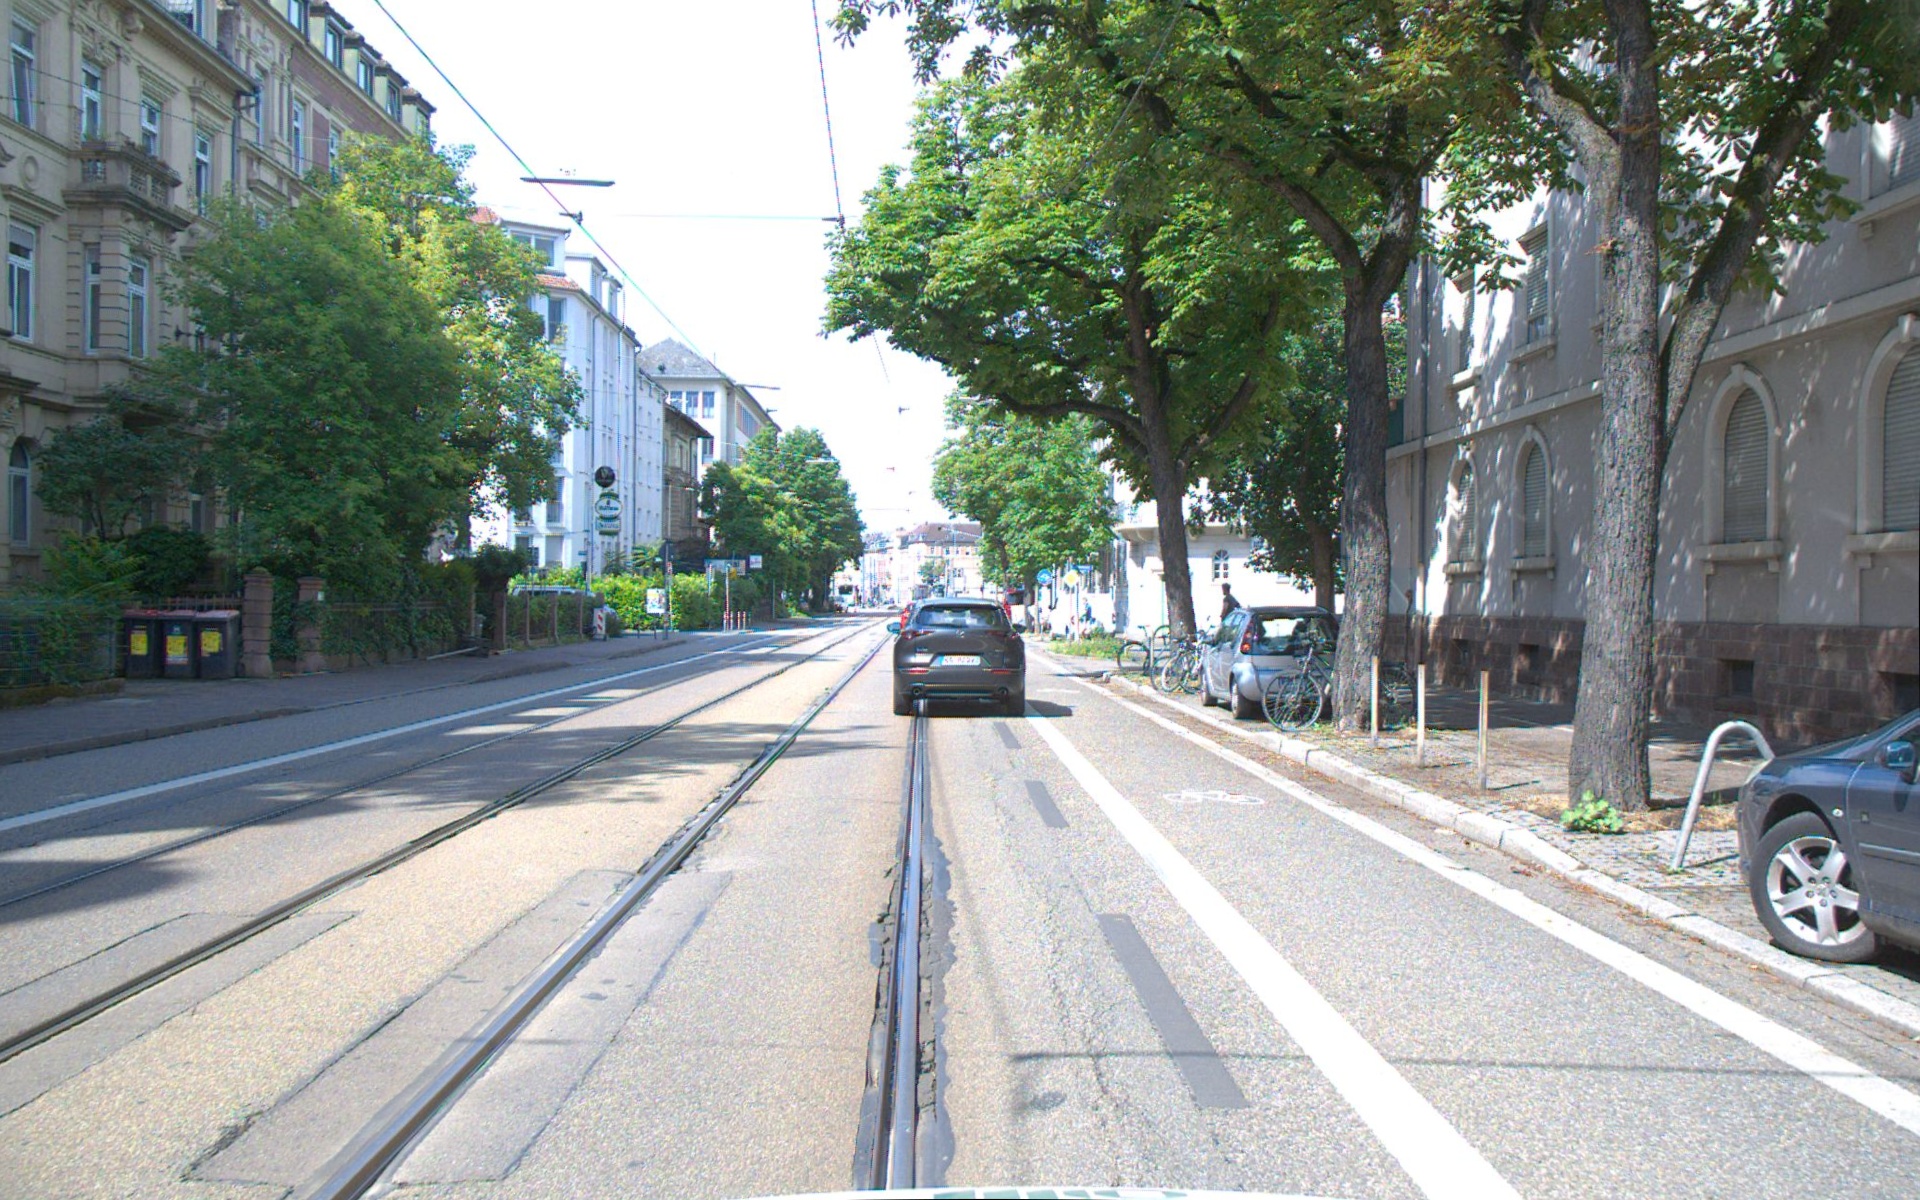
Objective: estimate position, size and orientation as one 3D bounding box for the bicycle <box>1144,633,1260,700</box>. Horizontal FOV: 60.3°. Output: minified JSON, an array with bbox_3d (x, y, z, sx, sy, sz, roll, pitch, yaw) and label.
[{"bbox_3d":[4.022,1.108,27.573,1.865,1.091,0.402,1,-1,-1],"label":"bicycle"}]

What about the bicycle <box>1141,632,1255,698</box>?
[{"bbox_3d":[4.015,1.096,27.966,1.865,1.091,0.402,1,-1,-1],"label":"bicycle"}]

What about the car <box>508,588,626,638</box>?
[{"bbox_3d":[-16.786,0.535,70.684,4.566,2.049,2.047,0,0,21],"label":"car"}]

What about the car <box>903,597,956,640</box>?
[{"bbox_3d":[-1.229,0.724,65.174,1.953,1.555,3.999,3,0,-2],"label":"car"}]

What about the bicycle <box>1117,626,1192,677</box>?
[{"bbox_3d":[3.869,1.027,32.848,1.460,1.000,0.259,0,-1,0],"label":"bicycle"}]

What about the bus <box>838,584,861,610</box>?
[{"bbox_3d":[-16.121,-0.442,240.903,2.637,3.481,11.000,3,0,-7],"label":"bus"}]

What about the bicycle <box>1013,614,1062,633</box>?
[{"bbox_3d":[3.658,1.120,78.125,2.229,0.876,0.671,1,0,-3],"label":"bicycle"}]

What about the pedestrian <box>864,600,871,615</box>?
[{"bbox_3d":[-12.270,0.989,219.479,0.867,2.049,0.617,1,0,-5],"label":"pedestrian"}]

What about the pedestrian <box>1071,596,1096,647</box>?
[{"bbox_3d":[4.613,0.799,61.756,0.799,1.868,0.961,1,0,-4],"label":"pedestrian"}]

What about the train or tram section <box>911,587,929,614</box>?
[{"bbox_3d":[-5.909,0.134,243.852,2.519,3.839,13.023,0,0,-1],"label":"train or tram section"}]

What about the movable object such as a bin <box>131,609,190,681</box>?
[{"bbox_3d":[-12.884,0.714,26.668,0.537,1.127,0.790,1,0,3],"label":"movable object such as a bin"}]

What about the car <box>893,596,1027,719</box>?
[{"bbox_3d":[-0.046,0.733,22.854,1.686,1.553,3.588,1,0,-2],"label":"car"}]

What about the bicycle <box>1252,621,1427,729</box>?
[{"bbox_3d":[4.295,0.845,18.802,1.895,1.196,0.513,-1,-1,10],"label":"bicycle"}]

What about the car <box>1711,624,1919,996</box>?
[{"bbox_3d":[4.752,0.830,5.970,1.810,1.434,4.391,-1,0,-4],"label":"car"}]

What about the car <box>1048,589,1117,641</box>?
[{"bbox_3d":[4.752,0.571,64.993,1.753,1.972,4.983,0,0,-7],"label":"car"}]

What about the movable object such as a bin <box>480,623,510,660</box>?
[{"bbox_3d":[-11.372,1.007,40.487,0.551,0.891,0.616,1,0,-1],"label":"movable object such as a bin"}]

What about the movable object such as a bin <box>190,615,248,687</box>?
[{"bbox_3d":[-11.865,0.808,26.482,0.526,1.113,0.790,1,0,3],"label":"movable object such as a bin"}]

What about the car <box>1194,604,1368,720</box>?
[{"bbox_3d":[4.432,0.814,23.346,1.632,1.455,3.765,-2,0,-1],"label":"car"}]

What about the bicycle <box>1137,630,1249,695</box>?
[{"bbox_3d":[3.999,1.074,28.407,1.865,1.091,0.402,1,-1,-1],"label":"bicycle"}]

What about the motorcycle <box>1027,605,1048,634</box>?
[{"bbox_3d":[3.512,0.857,75.091,0.778,1.293,2.421,1,0,-2],"label":"motorcycle"}]

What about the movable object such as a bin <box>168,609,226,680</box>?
[{"bbox_3d":[-12.322,0.708,26.722,0.537,1.127,0.790,1,0,3],"label":"movable object such as a bin"}]

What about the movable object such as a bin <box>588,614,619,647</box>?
[{"bbox_3d":[-11.441,0.961,53.098,0.730,1.005,1.114,3,0,-2],"label":"movable object such as a bin"}]

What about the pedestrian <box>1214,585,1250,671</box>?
[{"bbox_3d":[5.979,0.619,36.356,0.598,1.868,0.878,0,-2,-3],"label":"pedestrian"}]

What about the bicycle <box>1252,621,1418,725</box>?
[{"bbox_3d":[4.370,0.851,19.348,1.853,1.196,0.513,-1,-1,10],"label":"bicycle"}]

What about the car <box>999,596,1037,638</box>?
[{"bbox_3d":[2.846,0.812,81.895,1.685,2.003,4.206,1,0,-1],"label":"car"}]

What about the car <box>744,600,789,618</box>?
[{"bbox_3d":[-16.445,0.771,140.677,3.674,1.309,1.608,3,0,-5],"label":"car"}]

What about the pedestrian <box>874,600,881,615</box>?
[{"bbox_3d":[-10.934,0.974,219.581,0.867,2.049,0.617,1,0,-5],"label":"pedestrian"}]

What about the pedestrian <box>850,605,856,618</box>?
[{"bbox_3d":[-12.596,1.392,195.058,0.736,1.537,0.823,1,0,-6],"label":"pedestrian"}]

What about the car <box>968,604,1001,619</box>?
[{"bbox_3d":[3.018,1.395,206.884,3.749,1.646,1.628,3,-1,-19],"label":"car"}]
